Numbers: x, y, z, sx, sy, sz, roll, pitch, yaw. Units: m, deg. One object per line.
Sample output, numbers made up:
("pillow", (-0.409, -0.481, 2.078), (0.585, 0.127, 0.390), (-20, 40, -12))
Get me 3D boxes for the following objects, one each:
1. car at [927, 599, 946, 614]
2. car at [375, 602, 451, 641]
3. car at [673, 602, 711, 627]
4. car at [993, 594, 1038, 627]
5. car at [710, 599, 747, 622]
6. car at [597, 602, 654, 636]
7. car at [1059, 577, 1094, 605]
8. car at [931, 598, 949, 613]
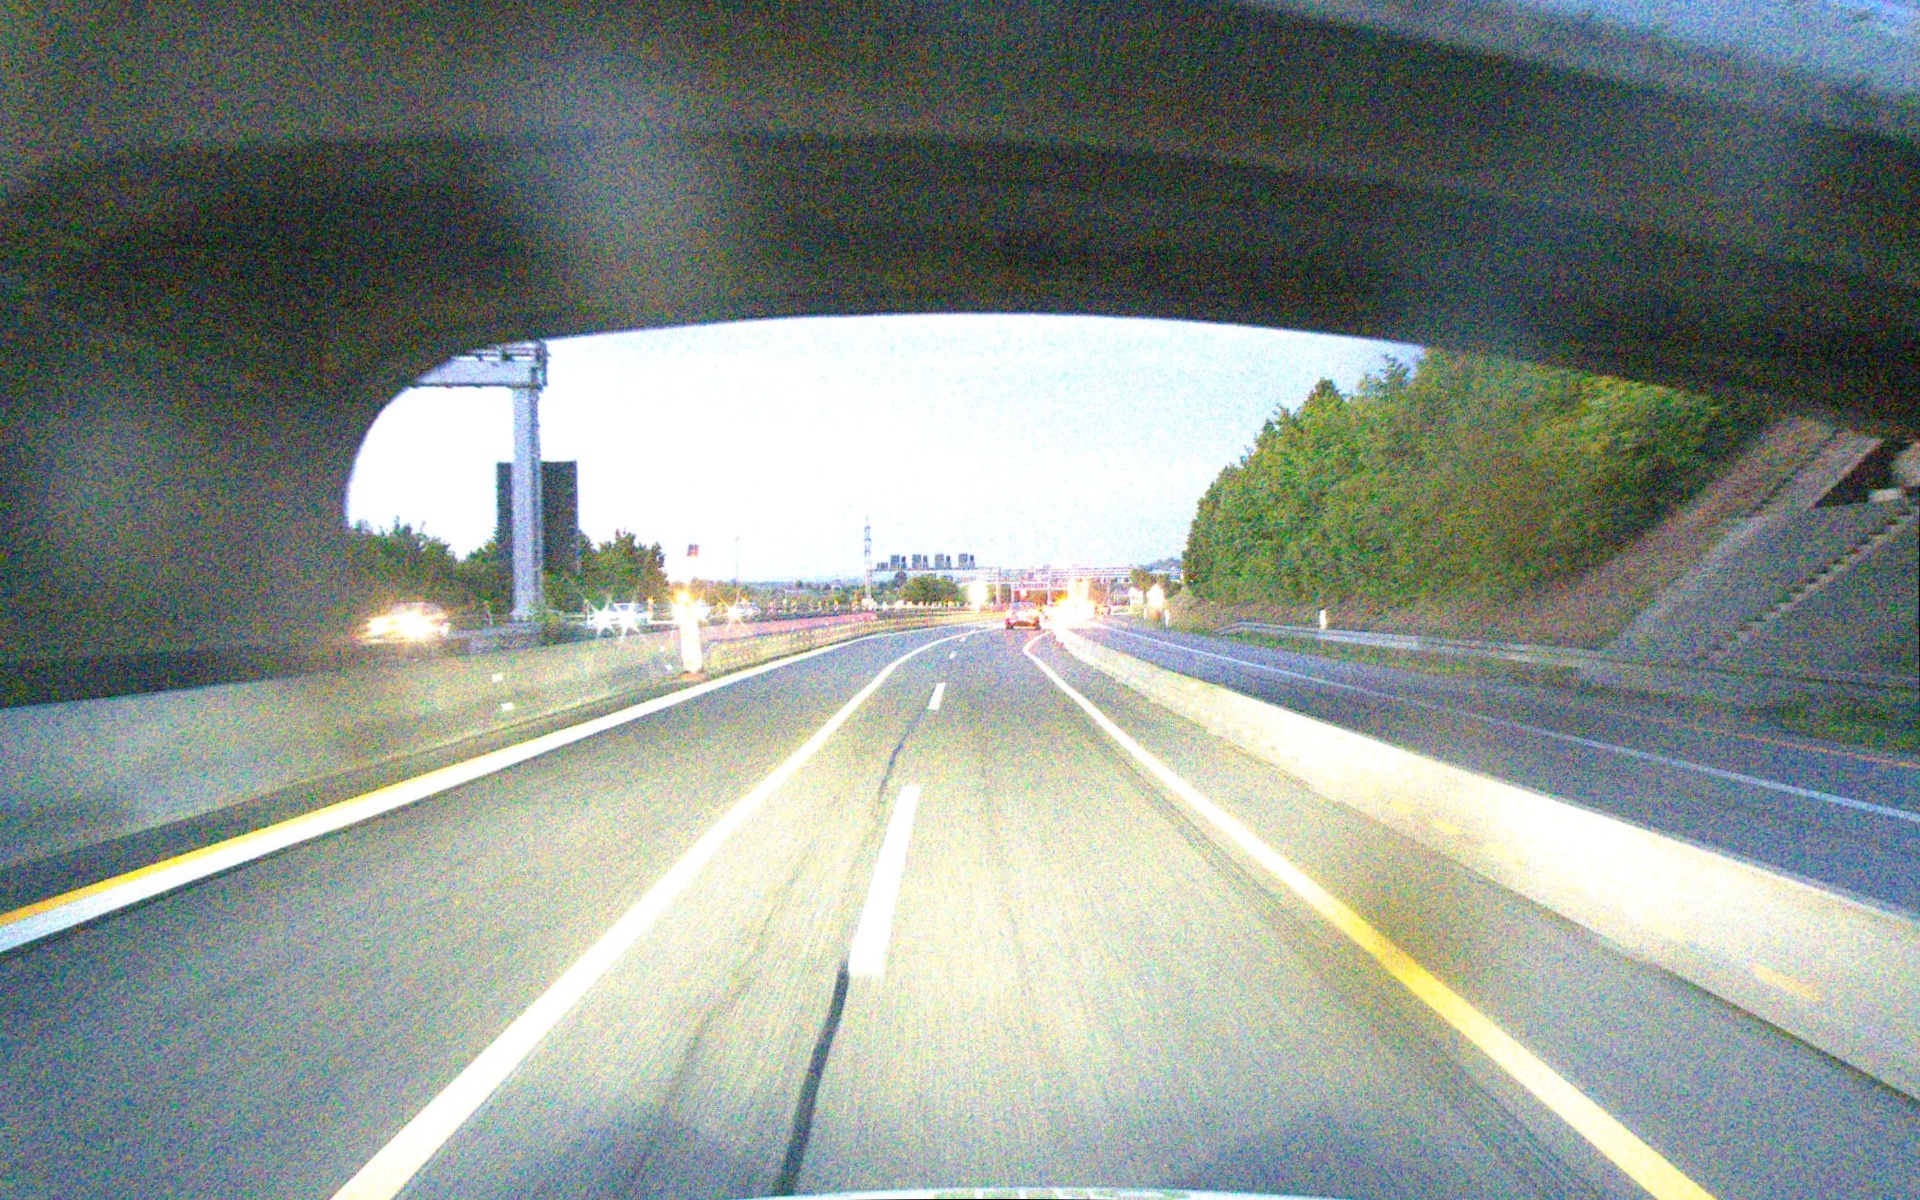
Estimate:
("car", (-2.933, 0.817, 209.230), (1.951, 1.744, 4.002), (2, 0, 4))
("car", (-22.303, 0.864, 67.552), (1.667, 1.481, 3.931), (2, 0, 1))
("car", (-19.982, 1.063, 123.419), (1.867, 1.744, 3.945), (2, 0, 4))
("car", (2.928, 0.538, 88.384), (2.219, 1.649, 4.000), (2, 0, 0))
("car", (-17.382, 0.784, 124.357), (1.792, 1.690, 4.843), (2, 0, 3))
("car", (-17.828, 0.991, 88.337), (1.792, 1.690, 4.843), (2, 0, 3))
("car", (14.755, -1.111, 209.735), (3.532, 3.455, 8.011), (2, 0, -2))
("car", (-2.660, 0.753, 216.450), (1.951, 1.860, 4.002), (2, 0, 4))
